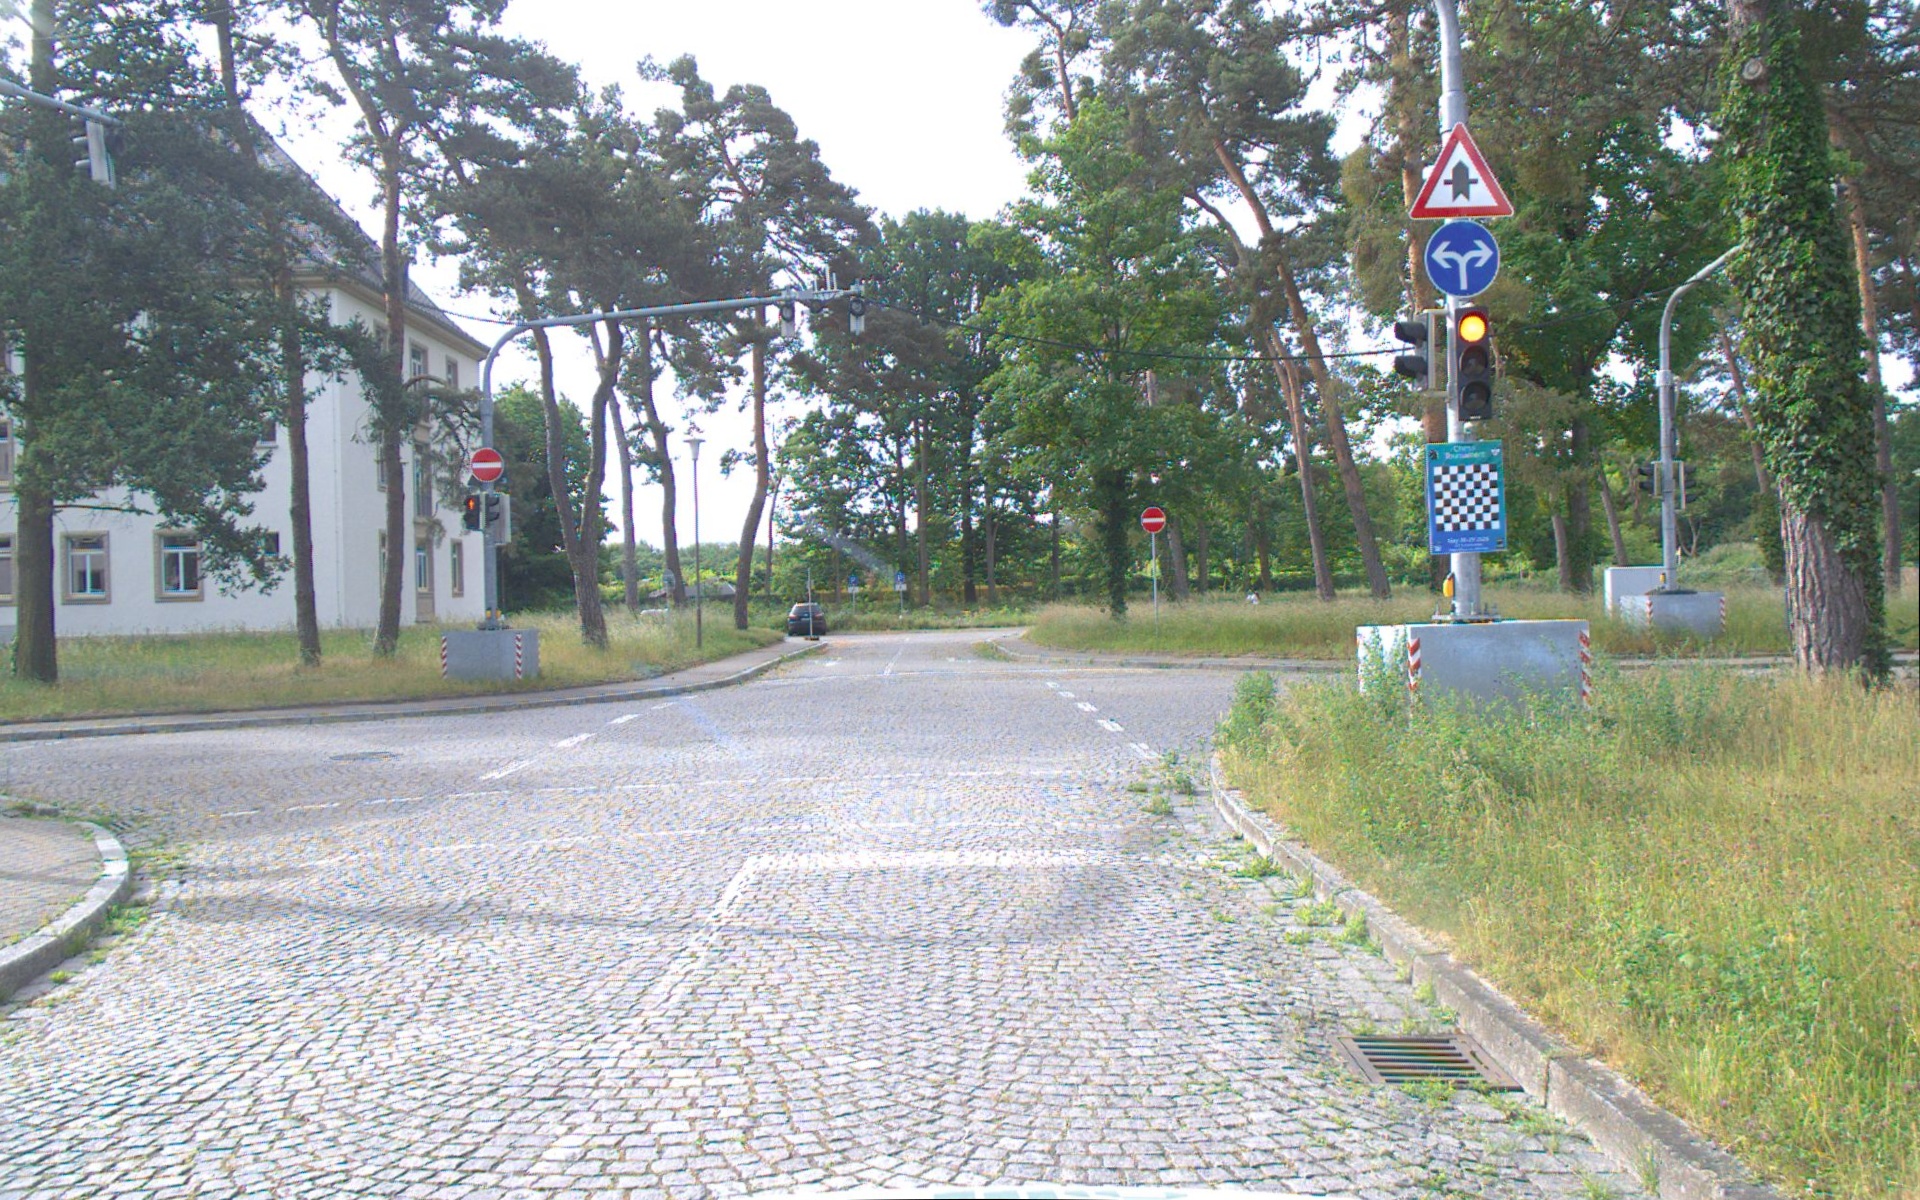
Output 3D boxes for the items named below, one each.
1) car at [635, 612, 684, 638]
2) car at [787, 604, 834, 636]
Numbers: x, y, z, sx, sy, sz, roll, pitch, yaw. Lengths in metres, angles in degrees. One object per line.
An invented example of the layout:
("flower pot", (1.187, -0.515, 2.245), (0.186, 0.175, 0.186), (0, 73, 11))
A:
("car", (-14.758, 1.215, 81.335), (1.654, 1.176, 4.000), (-2, 0, 0))
("car", (-7.247, 0.958, 80.561), (1.953, 1.534, 4.000), (0, 0, 0))
